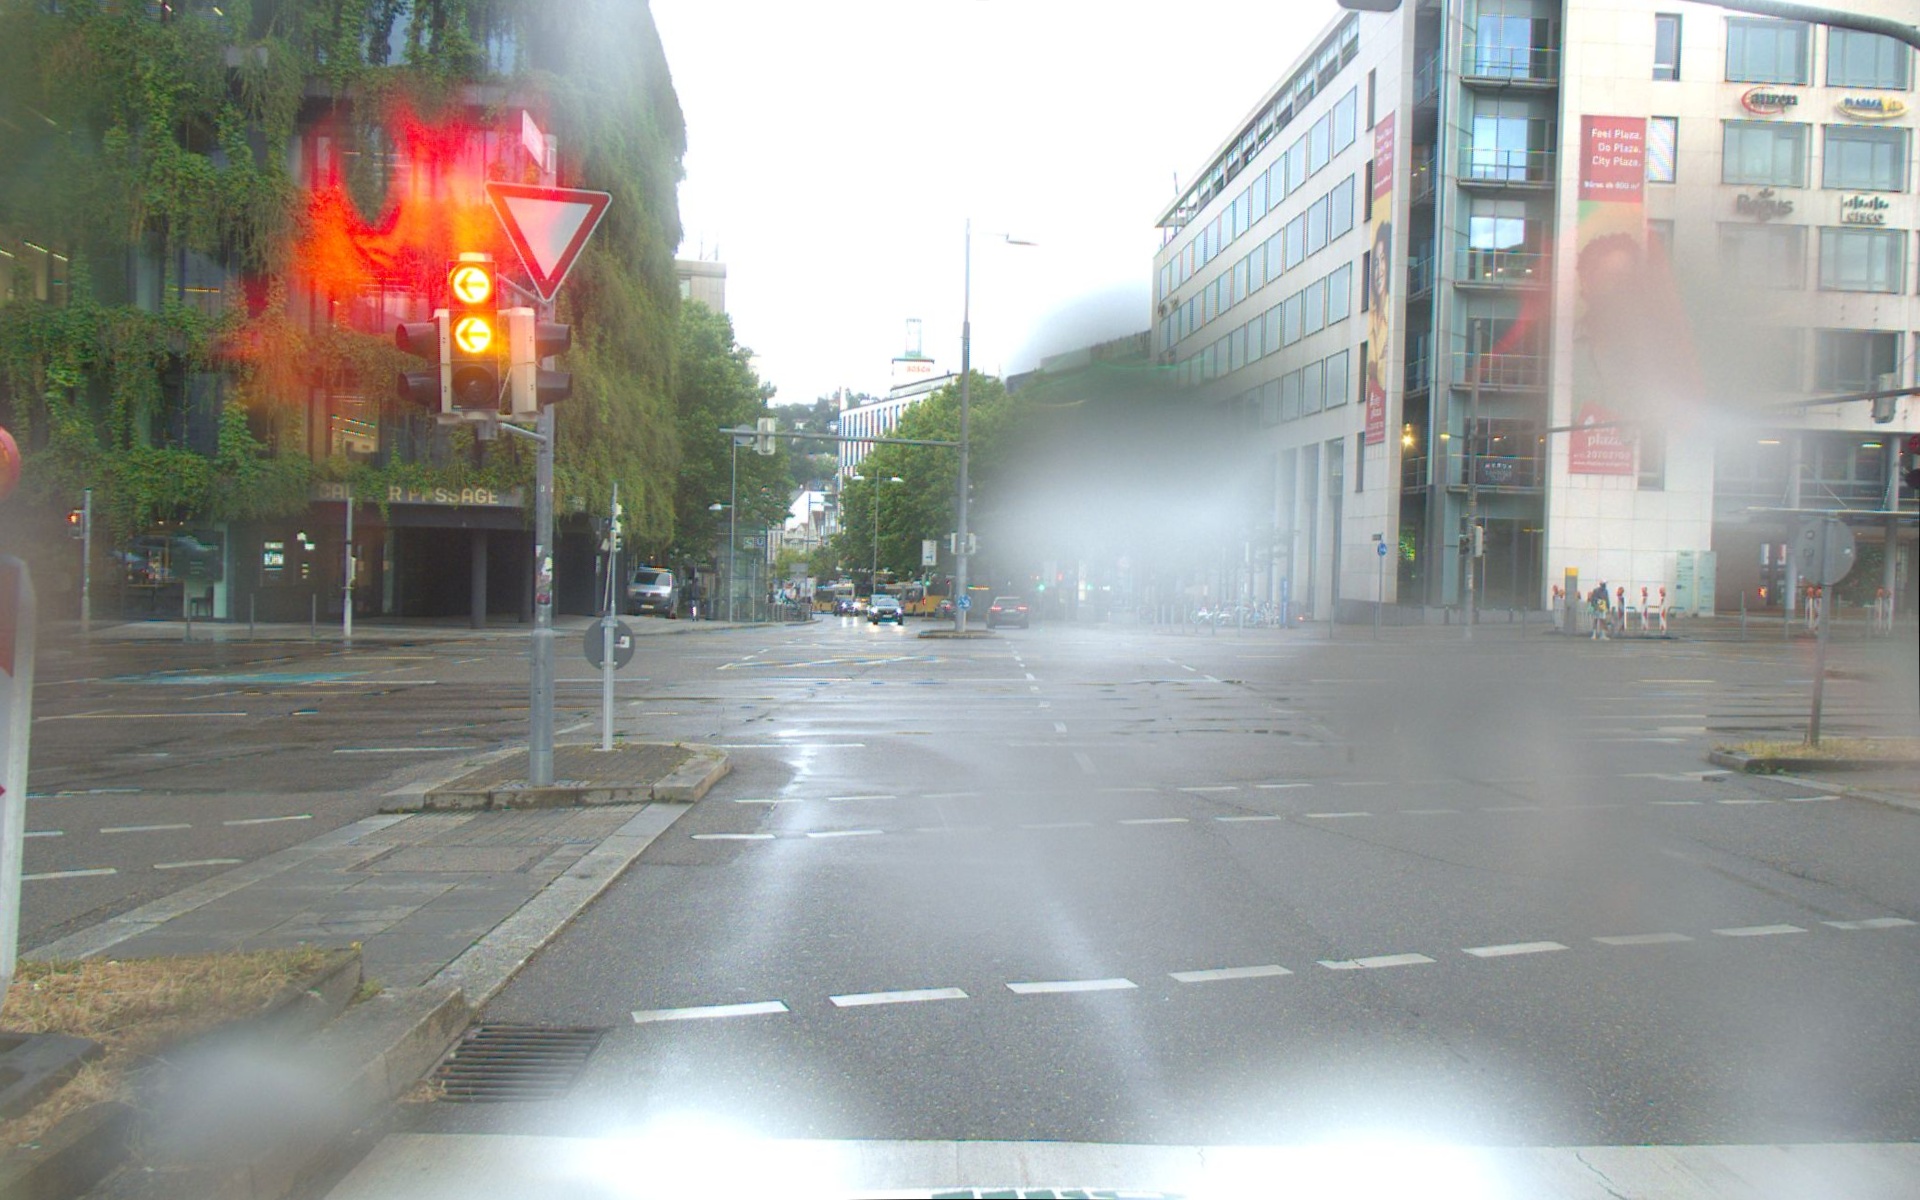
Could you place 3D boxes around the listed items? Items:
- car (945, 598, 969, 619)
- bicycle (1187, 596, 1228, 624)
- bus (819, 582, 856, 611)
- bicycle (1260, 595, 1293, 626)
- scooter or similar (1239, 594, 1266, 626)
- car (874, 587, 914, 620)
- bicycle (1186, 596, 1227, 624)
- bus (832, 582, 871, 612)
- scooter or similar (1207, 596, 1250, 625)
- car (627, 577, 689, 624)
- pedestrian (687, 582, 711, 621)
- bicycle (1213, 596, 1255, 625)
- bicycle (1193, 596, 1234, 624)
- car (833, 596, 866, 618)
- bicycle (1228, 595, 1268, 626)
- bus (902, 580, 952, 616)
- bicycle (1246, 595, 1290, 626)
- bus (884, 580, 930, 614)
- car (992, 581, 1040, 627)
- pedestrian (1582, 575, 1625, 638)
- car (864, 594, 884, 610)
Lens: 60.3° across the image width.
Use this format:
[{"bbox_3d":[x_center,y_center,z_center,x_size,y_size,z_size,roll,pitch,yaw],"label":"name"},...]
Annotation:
[{"bbox_3d":[-0.215,0.621,123.929,1.745,1.534,3.999,1,0,-1],"label":"car"},{"bbox_3d":[11.001,0.434,73.568,1.741,1.215,0.586,1,-1,1],"label":"bicycle"},{"bbox_3d":[-13.349,-0.430,180.129,2.585,3.048,7.417,0,0,-16],"label":"bus"},{"bbox_3d":[12.856,0.439,67.140,0.575,1.215,1.776,1,-1,37],"label":"bicycle"},{"bbox_3d":[11.382,0.401,64.324,0.946,1.215,0.453,1,-1,40],"label":"scooter or similar"},{"bbox_3d":[-3.819,0.216,94.982,2.121,1.796,5.108,1,0,-4],"label":"car"},{"bbox_3d":[10.858,0.429,72.931,1.741,1.215,0.586,1,-1,1],"label":"bicycle"},{"bbox_3d":[-11.351,-0.371,173.062,2.585,3.048,7.296,0,0,-16],"label":"bus"},{"bbox_3d":[11.543,0.433,71.150,1.741,1.215,0.586,1,-1,1],"label":"scooter or similar"},{"bbox_3d":[-12.394,0.021,68.138,1.832,1.871,3.999,1,0,-1],"label":"car"},{"bbox_3d":[-11.284,0.069,71.538,0.915,1.673,0.774,1,-1,-1],"label":"pedestrian"},{"bbox_3d":[11.888,0.442,71.778,1.741,1.215,0.586,1,-1,1],"label":"bicycle"},{"bbox_3d":[11.418,0.445,74.491,1.741,1.215,0.586,1,-1,1],"label":"bicycle"},{"bbox_3d":[-9.427,0.581,140.578,2.126,1.796,5.096,1,0,-12],"label":"car"},{"bbox_3d":[11.581,0.414,66.563,0.578,1.215,1.766,1,0,-28],"label":"bicycle"},{"bbox_3d":[-2.978,-0.222,145.897,2.585,3.048,7.417,0,0,-16],"label":"bus"},{"bbox_3d":[12.118,0.417,65.019,1.590,1.215,0.586,1,-1,25],"label":"bicycle"},{"bbox_3d":[-4.974,-0.267,153.014,2.585,3.048,7.417,0,0,-16],"label":"bus"},{"bbox_3d":[2.611,0.193,75.675,1.511,2.049,4.672,1,0,10],"label":"car"},{"bbox_3d":[19.432,0.195,49.948,0.942,1.848,0.836,1,-1,-1],"label":"pedestrian"},{"bbox_3d":[-8.102,0.200,156.231,1.745,1.534,3.999,1,0,-1],"label":"car"}]
